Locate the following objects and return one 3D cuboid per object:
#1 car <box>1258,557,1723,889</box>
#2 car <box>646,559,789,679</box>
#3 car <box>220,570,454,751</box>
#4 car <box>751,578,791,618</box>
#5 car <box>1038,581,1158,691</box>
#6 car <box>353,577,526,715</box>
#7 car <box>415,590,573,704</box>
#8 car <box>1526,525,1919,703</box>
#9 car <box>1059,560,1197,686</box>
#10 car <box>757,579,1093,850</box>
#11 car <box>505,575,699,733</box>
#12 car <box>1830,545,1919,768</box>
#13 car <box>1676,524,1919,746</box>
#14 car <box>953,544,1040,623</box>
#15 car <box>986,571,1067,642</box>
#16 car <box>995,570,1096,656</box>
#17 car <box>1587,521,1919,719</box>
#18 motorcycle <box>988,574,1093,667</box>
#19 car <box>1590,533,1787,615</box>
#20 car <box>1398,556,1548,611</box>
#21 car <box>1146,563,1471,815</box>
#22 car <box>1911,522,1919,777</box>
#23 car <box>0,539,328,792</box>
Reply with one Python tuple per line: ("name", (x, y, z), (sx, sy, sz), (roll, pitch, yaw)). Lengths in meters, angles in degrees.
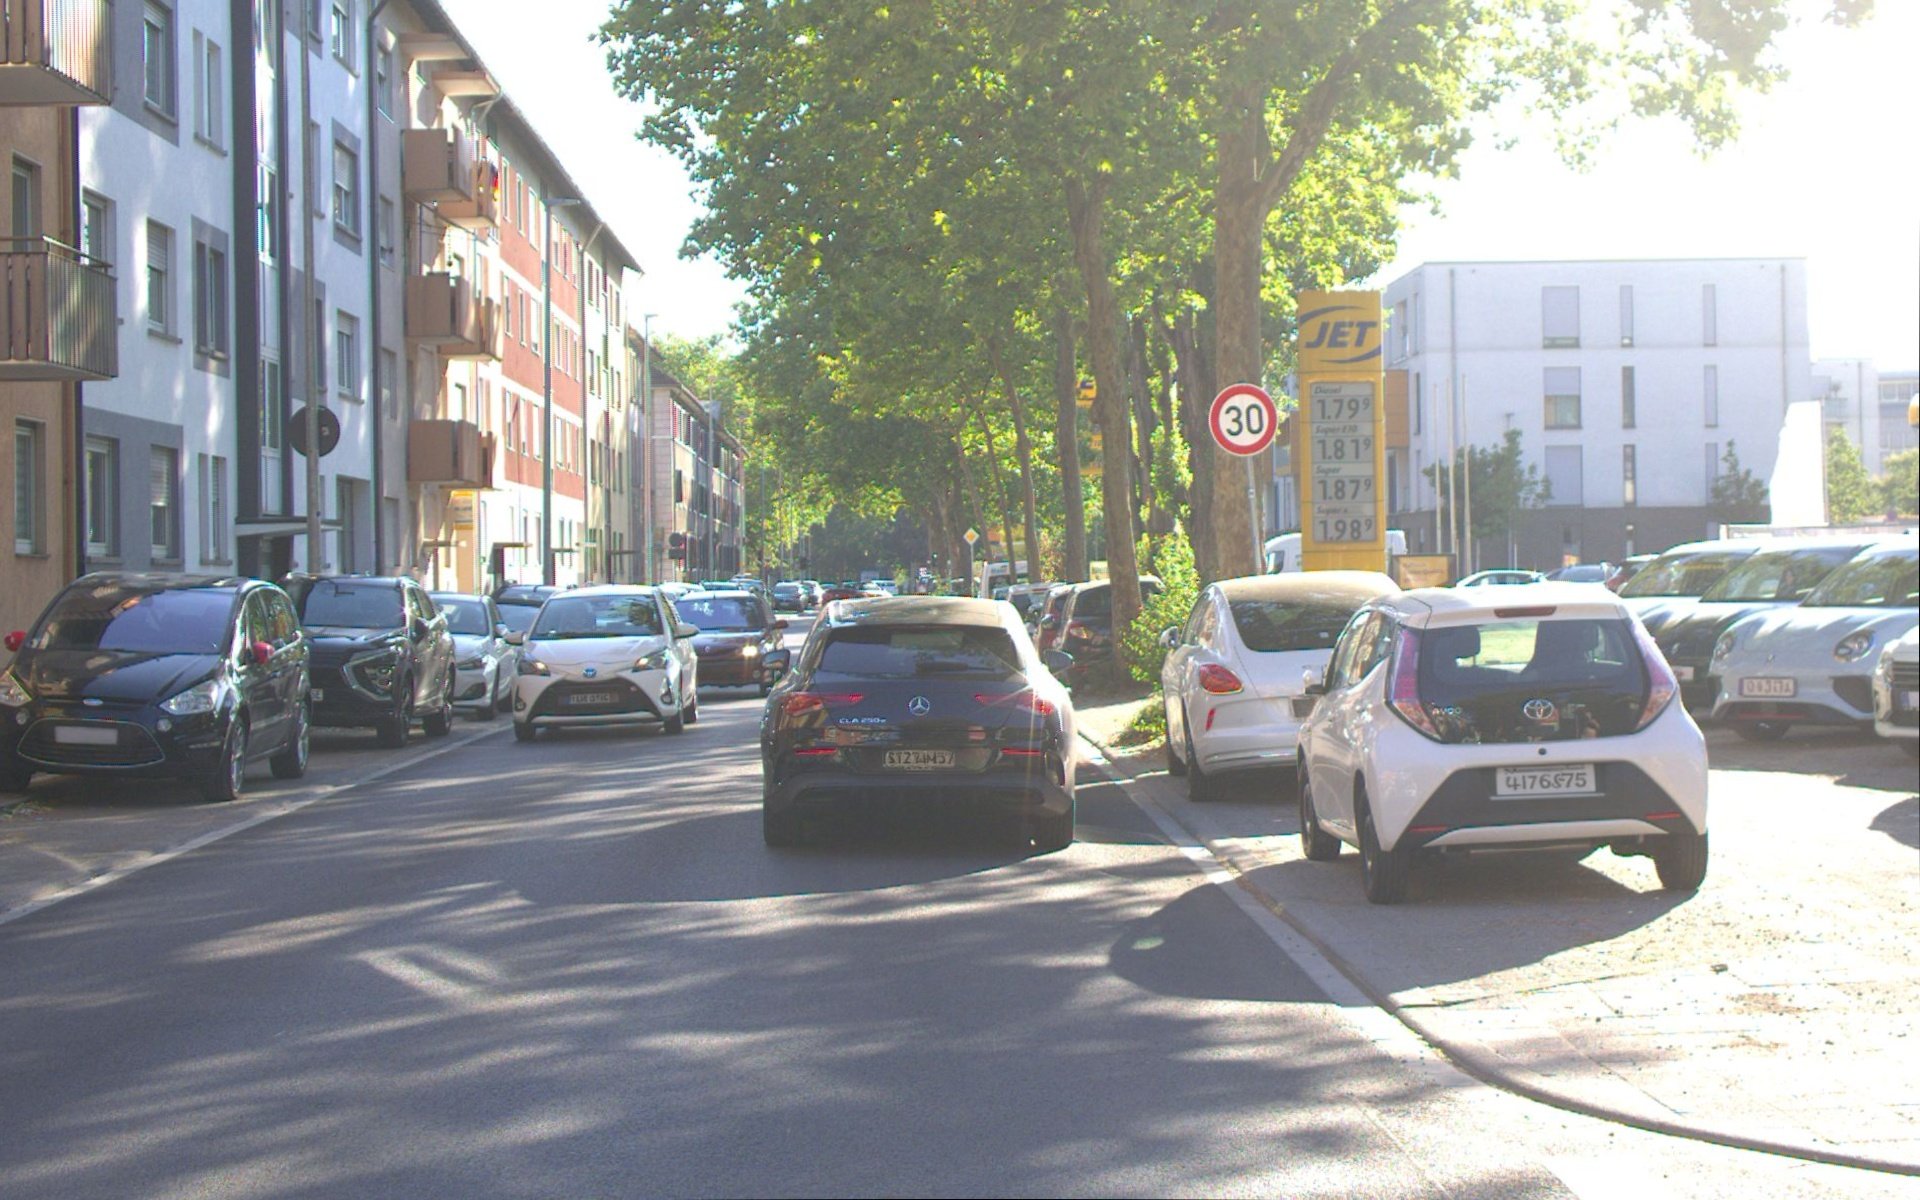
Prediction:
("car", (2.625, 0.569, 17.881), (1.635, 1.463, 4.021), (-2, 0, -2))
("car", (-3.320, 0.225, 47.716), (1.663, 1.518, 4.412), (-2, 1, -1))
("car", (-6.060, 0.539, 33.851), (1.596, 1.635, 4.412), (1, 1, -2))
("car", (-9.559, -0.103, 174.181), (1.907, 1.941, 4.000), (0, -1, -1))
("car", (2.056, 0.525, 52.109), (1.559, 1.590, 3.601), (1, 0, -2))
("car", (-6.163, 0.509, 41.043), (1.547, 1.518, 4.005), (1, 1, -2))
("car", (-6.306, 0.609, 46.878), (1.596, 1.429, 4.217), (1, 1, -1))
("car", (7.591, 0.108, 34.061), (3.808, 1.573, 1.746), (-3, 1, -38))
("car", (2.214, 0.295, 46.020), (1.559, 1.590, 3.601), (1, 0, -2))
("car", (-0.118, 0.614, 20.818), (1.744, 1.438, 3.968), (1, 1, 3))
("car", (-3.655, 0.514, 35.644), (1.639, 1.518, 3.934), (0, 1, -1))
("car", (8.220, 0.348, 24.722), (3.807, 1.540, 1.662), (-1, 1, -34))
("car", (7.669, 0.210, 27.262), (3.808, 1.604, 1.741), (-3, 1, -36))
("car", (0.932, -0.416, 90.736), (1.993, 2.007, 4.000), (0, -1, -4))
("car", (1.486, 0.142, 77.435), (1.633, 1.552, 3.601), (1, 0, -2))
("car", (1.599, 0.238, 65.376), (1.722, 1.552, 3.601), (1, 0, -2))
("car", (7.489, 0.132, 30.262), (3.808, 1.573, 1.741), (-3, 1, -38))
("motorcycle", (1.362, 0.351, 58.145), (1.641, 1.552, 0.612), (1, 0, -22))
("car", (16.168, -0.583, 76.316), (3.824, 1.706, 1.841), (-2, 0, -18))
("car", (14.652, -0.462, 98.293), (3.986, 1.524, 1.807), (0, -1, -2))
("car", (2.392, 0.577, 24.674), (1.810, 1.533, 4.583), (-3, 0, 0))
("car", (7.152, 0.330, 20.485), (1.752, 1.664, 4.158), (-1, 1, -1))
("car", (-6.180, 0.441, 26.845), (1.745, 1.781, 4.549), (1, 1, -2))
